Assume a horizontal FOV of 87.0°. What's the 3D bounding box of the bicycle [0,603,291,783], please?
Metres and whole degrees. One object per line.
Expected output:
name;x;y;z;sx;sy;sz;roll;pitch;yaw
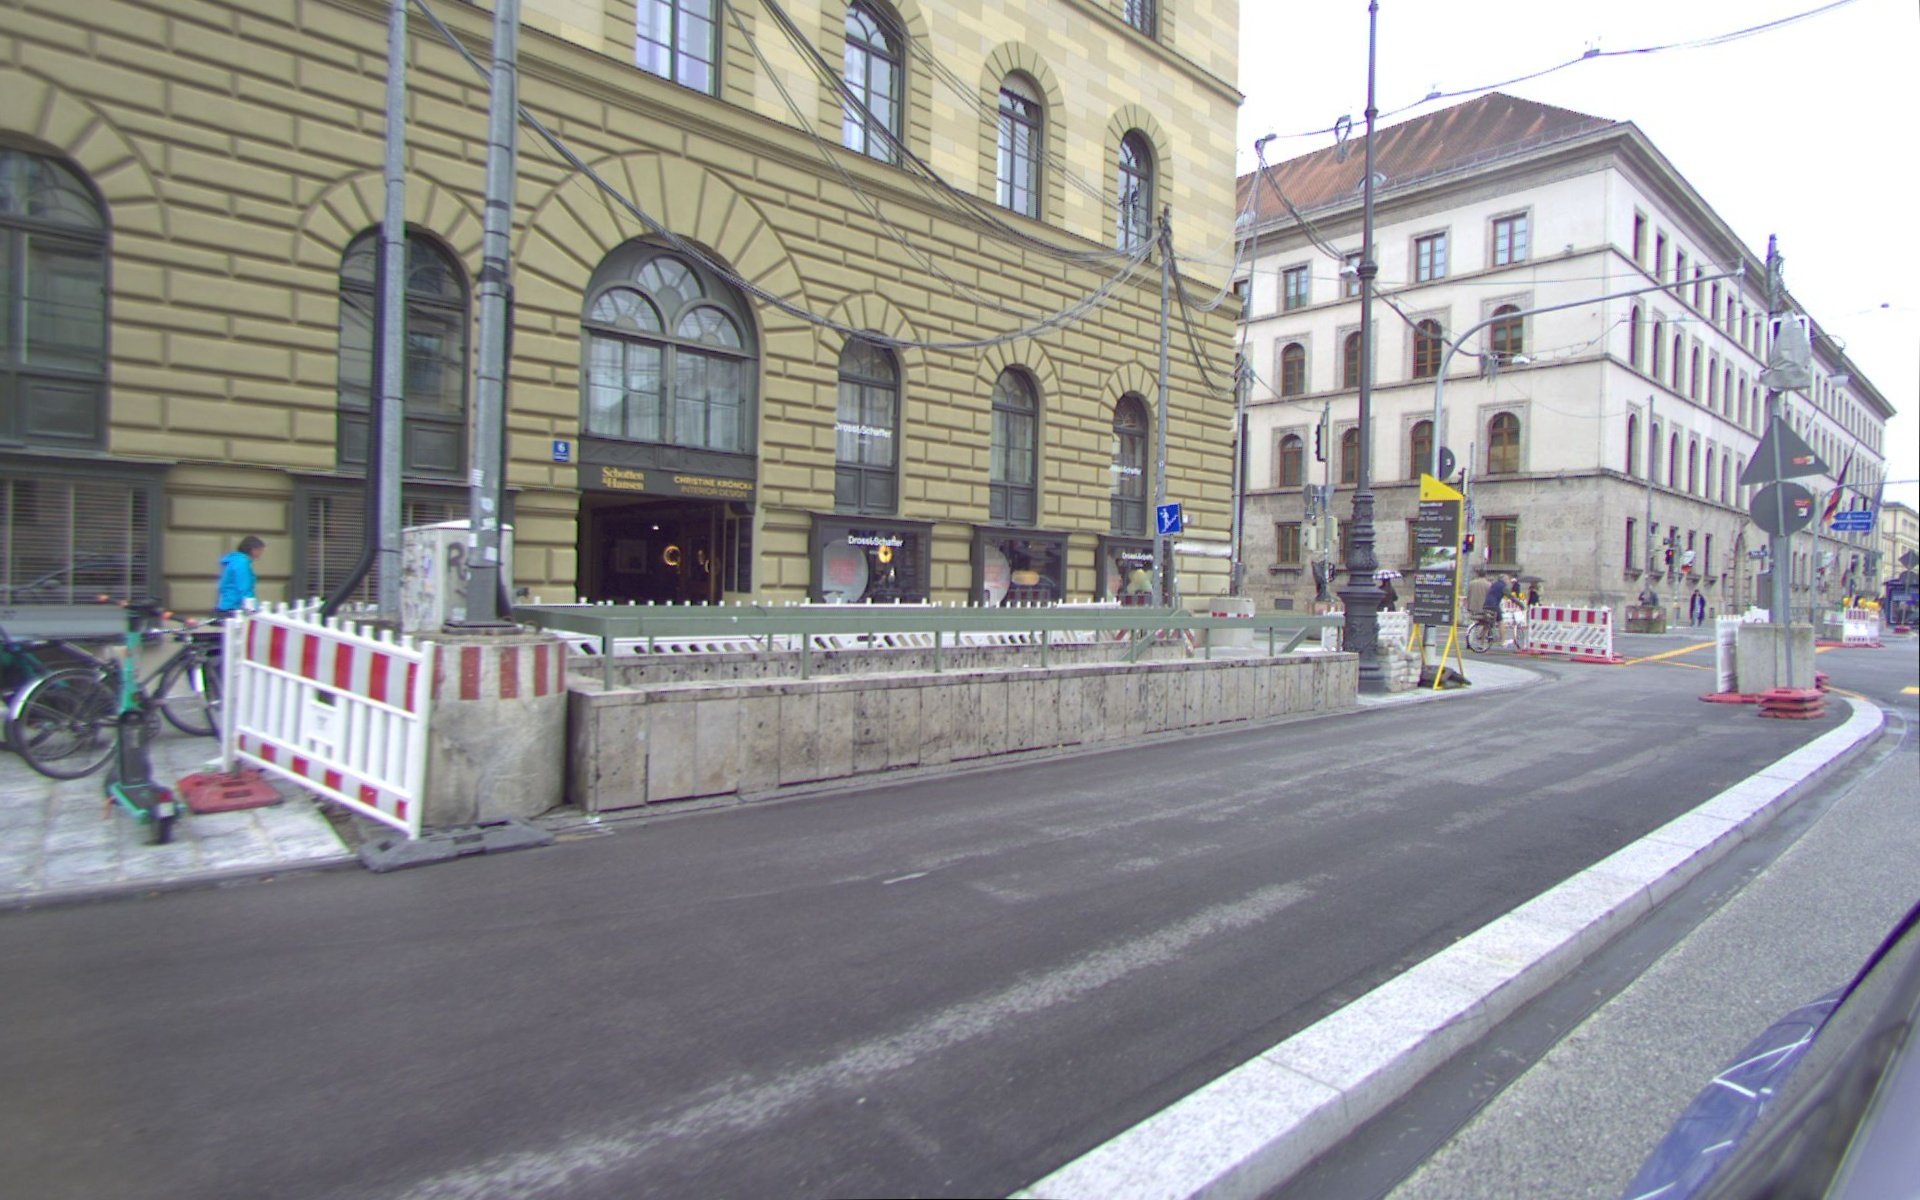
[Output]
bicycle;-5.616;0.568;7.000;0.514;1.035;1.638;0;2;23

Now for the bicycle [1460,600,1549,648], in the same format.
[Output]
bicycle;12.128;0.528;22.568;1.625;1.024;0.587;0;1;1

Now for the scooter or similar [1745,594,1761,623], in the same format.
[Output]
scooter or similar;33.862;0.349;43.221;0.380;1.158;1.959;1;2;43

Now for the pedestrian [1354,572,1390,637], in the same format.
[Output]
pedestrian;10.601;0.112;26.056;0.523;1.640;0.673;-1;2;-39

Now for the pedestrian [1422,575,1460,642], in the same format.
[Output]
pedestrian;11.620;0.196;24.444;0.692;1.586;0.583;-1;2;-39

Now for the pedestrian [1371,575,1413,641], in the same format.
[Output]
pedestrian;10.551;0.184;24.713;0.692;1.586;0.681;-1;2;-39

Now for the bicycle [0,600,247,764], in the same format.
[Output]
bicycle;-6.281;0.543;7.476;0.514;1.035;1.638;0;2;23

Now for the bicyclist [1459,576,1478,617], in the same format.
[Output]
bicyclist;21.950;-0.165;43.651;0.683;1.770;0.792;1;1;30

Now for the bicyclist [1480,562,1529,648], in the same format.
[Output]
bicyclist;12.131;0.101;22.560;0.784;1.877;0.568;0;1;1

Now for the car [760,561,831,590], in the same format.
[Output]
car;-9.315;-1.392;57.058;1.966;1.577;4.380;0;2;-41

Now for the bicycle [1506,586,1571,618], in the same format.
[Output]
bicycle;23.834;0.078;41.753;0.775;1.258;2.198;-1;2;-37

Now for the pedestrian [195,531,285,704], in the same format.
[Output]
pedestrian;-6.821;0.149;9.590;0.621;1.573;0.499;-1;2;-43

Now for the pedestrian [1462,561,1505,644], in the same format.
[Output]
pedestrian;12.237;0.044;23.674;0.692;1.908;0.641;-1;2;-37

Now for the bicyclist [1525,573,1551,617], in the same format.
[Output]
bicyclist;23.836;-0.218;41.740;0.786;1.798;0.688;-1;2;-38

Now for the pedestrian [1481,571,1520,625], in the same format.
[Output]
pedestrian;17.955;-0.064;33.613;1.038;1.765;0.507;1;1;39

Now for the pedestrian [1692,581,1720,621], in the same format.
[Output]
pedestrian;32.609;0.030;44.223;0.713;1.674;0.739;0;4;-39

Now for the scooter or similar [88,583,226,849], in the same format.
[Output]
scooter or similar;-4.333;0.567;5.447;1.134;1.265;0.294;4;3;36

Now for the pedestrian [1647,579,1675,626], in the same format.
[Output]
pedestrian;25.932;0.079;37.432;0.735;1.674;0.717;5;4;36

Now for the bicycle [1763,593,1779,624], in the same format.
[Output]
bicycle;34.294;0.339;42.784;0.380;1.258;1.959;1;2;43

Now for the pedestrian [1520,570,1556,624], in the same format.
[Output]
pedestrian;19.639;-0.127;34.382;0.829;1.794;0.740;-1;1;-28

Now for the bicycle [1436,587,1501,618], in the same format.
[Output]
bicycle;21.937;0.095;43.669;2.429;1.258;0.781;1;2;31
